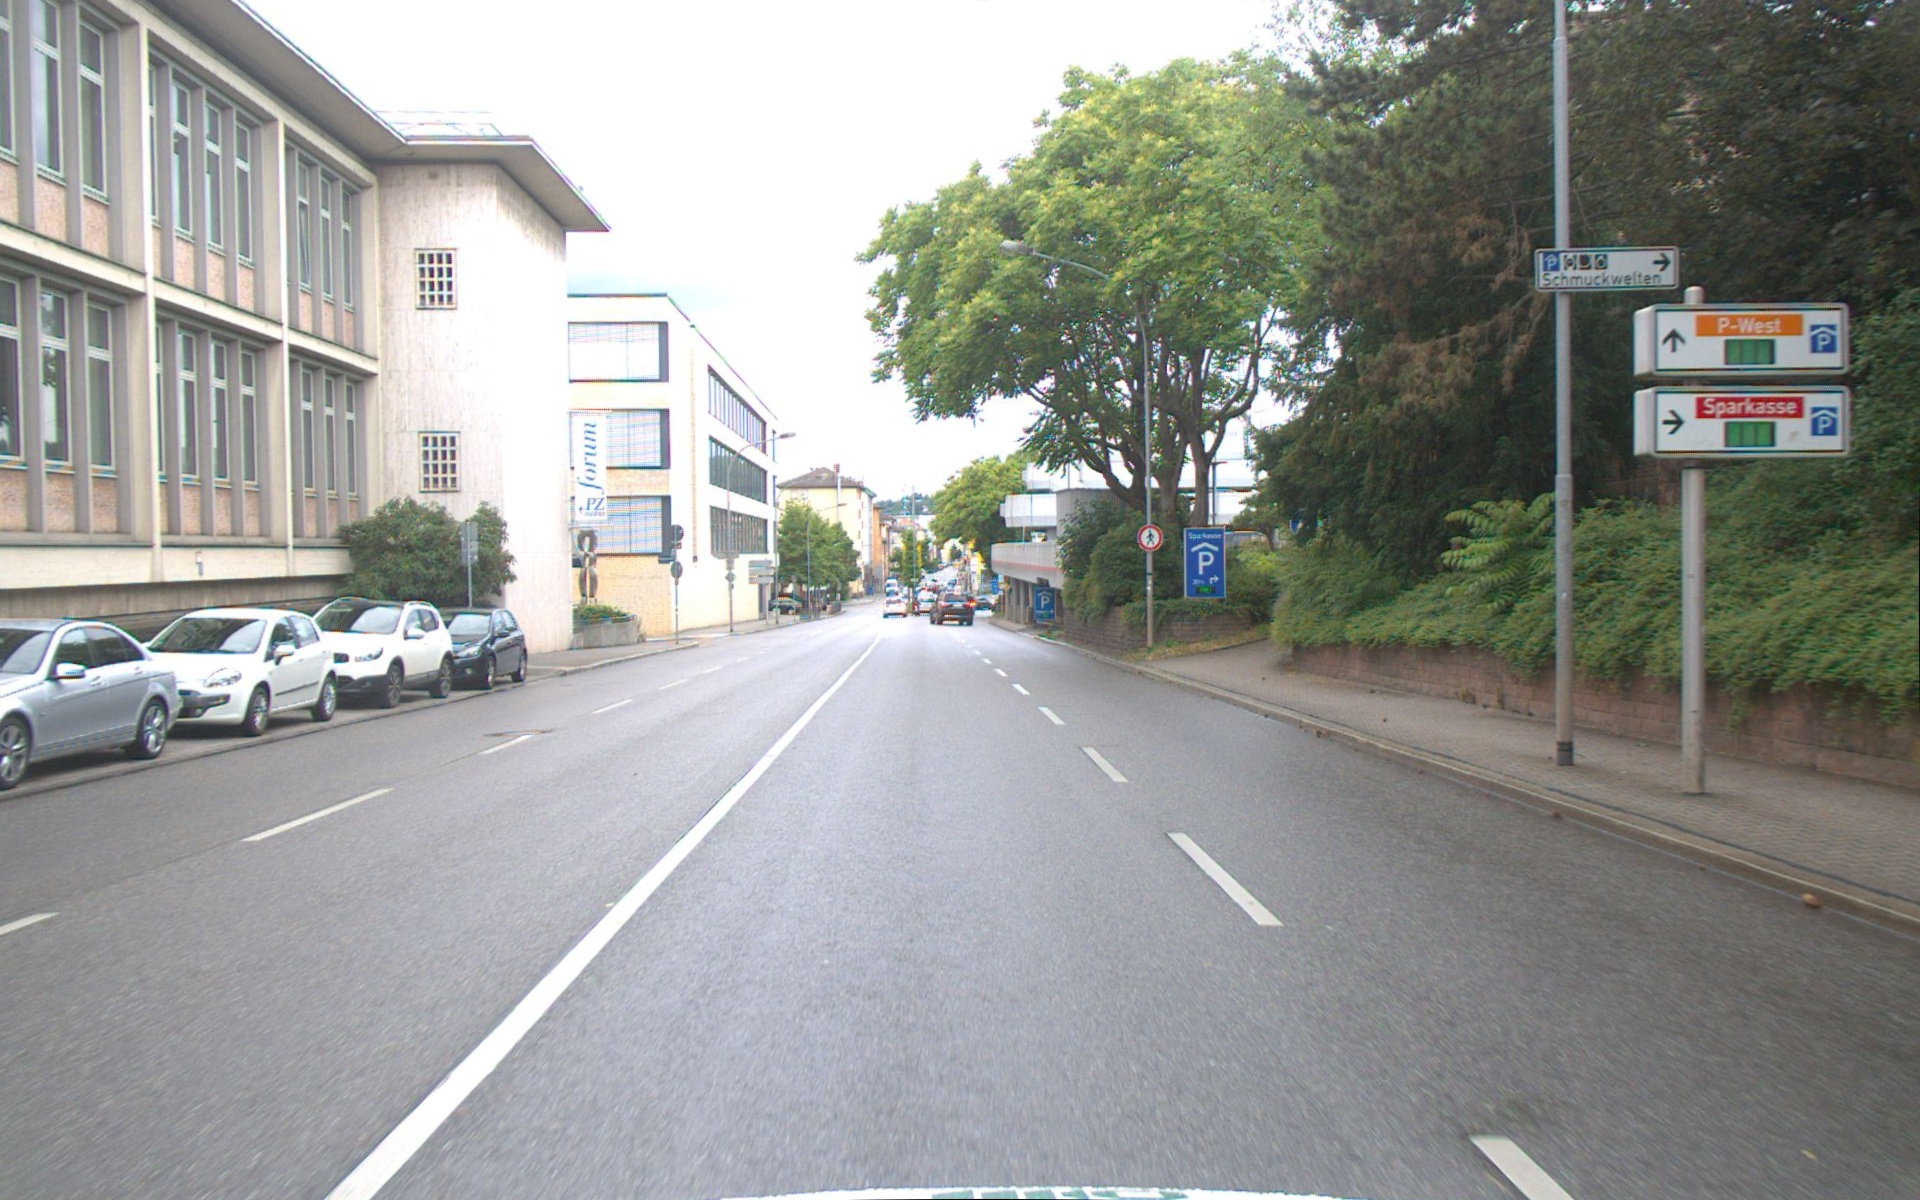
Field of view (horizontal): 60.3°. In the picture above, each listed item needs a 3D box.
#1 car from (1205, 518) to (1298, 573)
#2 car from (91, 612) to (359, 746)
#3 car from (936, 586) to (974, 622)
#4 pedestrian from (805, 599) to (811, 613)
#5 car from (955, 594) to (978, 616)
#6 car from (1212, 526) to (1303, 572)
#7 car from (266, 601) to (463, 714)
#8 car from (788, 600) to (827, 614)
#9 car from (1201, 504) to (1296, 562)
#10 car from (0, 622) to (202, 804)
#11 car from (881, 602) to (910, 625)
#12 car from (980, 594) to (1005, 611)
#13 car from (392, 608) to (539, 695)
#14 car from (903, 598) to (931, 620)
[{"bbox_3d":[11.505,-2.138,65.480,3.508,2.049,1.597,-1,0,6],"label":"car"},{"bbox_3d":[-9.248,0.933,21.195,1.713,1.479,4.179,1,0,-3],"label":"car"},{"bbox_3d":[-0.298,0.213,92.724,2.049,1.944,4.099,-1,0,-1],"label":"car"},{"bbox_3d":[-14.012,0.571,152.628,0.444,1.301,0.454,-1,0,9],"label":"pedestrian"},{"bbox_3d":[0.582,0.469,158.744,2.128,2.039,4.000,-1,0,0],"label":"car"},{"bbox_3d":[12.088,-2.066,67.377,3.545,1.735,1.642,-1,0,6],"label":"car"},{"bbox_3d":[-9.418,0.858,26.506,1.712,1.625,4.180,1,0,-2],"label":"car"},{"bbox_3d":[-14.414,0.685,156.431,3.585,1.256,1.439,-1,0,-7],"label":"car"},{"bbox_3d":[10.800,-2.485,62.044,3.376,2.049,1.655,-1,0,6],"label":"car"},{"bbox_3d":[-9.022,0.980,15.736,1.713,1.460,4.484,1,0,-3],"label":"car"},{"bbox_3d":[-5.058,1.054,128.579,1.955,1.709,3.995,-1,0,-6],"label":"car"},{"bbox_3d":[3.550,0.281,179.006,1.951,1.709,4.004,-1,0,12],"label":"car"},{"bbox_3d":[-9.372,0.934,31.693,1.713,1.505,4.179,1,0,-3],"label":"car"},{"bbox_3d":[-3.570,0.725,136.746,1.955,1.709,3.995,-1,0,-6],"label":"car"}]
